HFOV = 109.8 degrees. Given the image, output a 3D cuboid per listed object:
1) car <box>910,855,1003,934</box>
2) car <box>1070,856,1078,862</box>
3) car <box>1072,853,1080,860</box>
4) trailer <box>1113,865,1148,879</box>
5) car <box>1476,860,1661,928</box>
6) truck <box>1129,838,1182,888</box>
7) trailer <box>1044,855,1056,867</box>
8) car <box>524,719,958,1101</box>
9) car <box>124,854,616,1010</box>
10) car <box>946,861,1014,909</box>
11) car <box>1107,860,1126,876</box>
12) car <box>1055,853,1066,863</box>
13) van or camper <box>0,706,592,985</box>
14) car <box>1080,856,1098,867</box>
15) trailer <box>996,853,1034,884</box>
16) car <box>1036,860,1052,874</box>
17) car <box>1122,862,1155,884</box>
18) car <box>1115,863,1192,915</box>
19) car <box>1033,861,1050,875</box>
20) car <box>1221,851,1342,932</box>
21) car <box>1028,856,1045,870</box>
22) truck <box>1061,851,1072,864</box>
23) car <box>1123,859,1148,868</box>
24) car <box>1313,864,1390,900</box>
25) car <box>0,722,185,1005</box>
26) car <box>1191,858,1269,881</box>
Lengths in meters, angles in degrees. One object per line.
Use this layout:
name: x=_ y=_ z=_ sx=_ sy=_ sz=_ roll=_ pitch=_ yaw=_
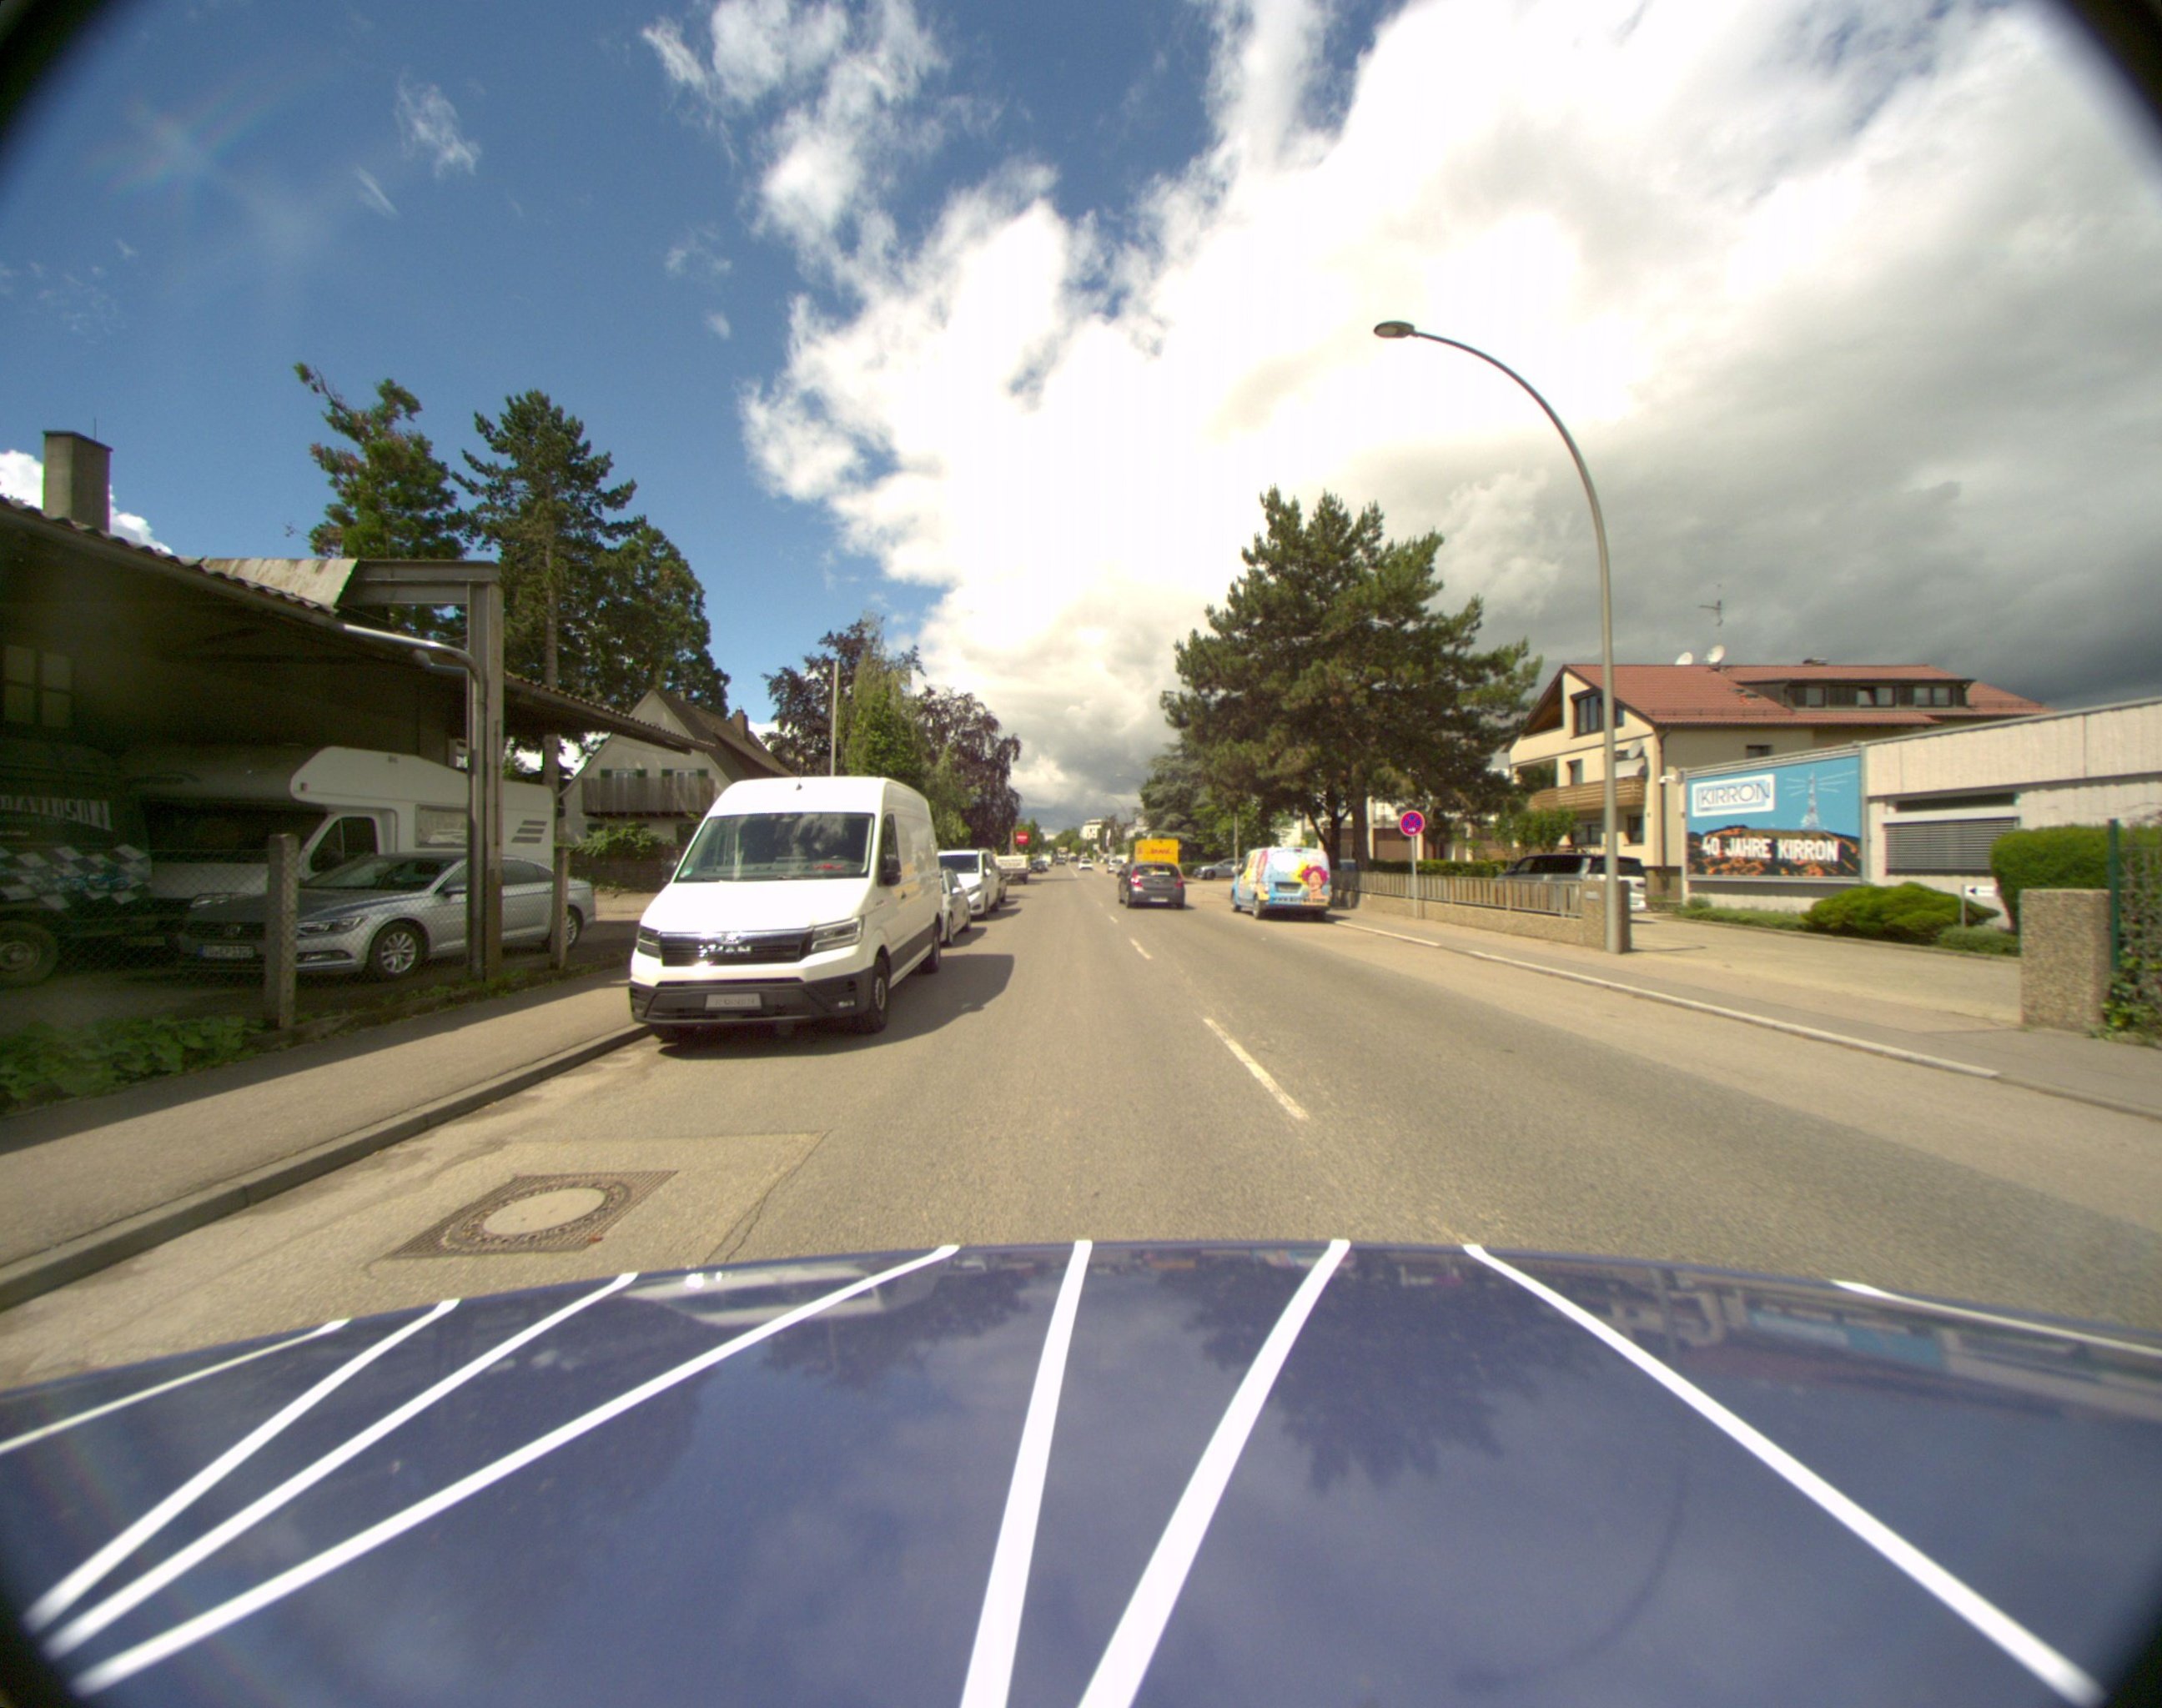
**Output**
car: x=-3.360 y=1.024 z=21.523 sx=1.910 sy=1.874 sz=5.388 roll=-2 pitch=0 yaw=-2
car: x=-2.279 y=1.620 z=240.354 sx=2.385 sy=2.002 sz=6.383 roll=0 pitch=0 yaw=-3
car: x=-1.335 y=0.719 z=191.886 sx=1.859 sy=1.685 sz=4.001 roll=0 pitch=0 yaw=2
trailer: x=4.099 y=1.509 z=64.559 sx=2.324 sy=0.985 sz=7.458 roll=1 pitch=0 yaw=-1
car: x=14.820 y=1.116 z=23.602 sx=2.085 sy=1.820 sz=5.478 roll=1 pitch=0 yaw=-2
truck: x=4.797 y=0.595 z=50.553 sx=2.330 sy=2.985 sz=7.817 roll=2 pitch=0 yaw=-3
trailer: x=-5.758 y=1.280 z=142.201 sx=2.045 sy=2.214 sz=5.078 roll=0 pitch=0 yaw=-1
car: x=-2.927 y=0.419 z=8.695 sx=2.221 sy=2.673 sz=6.656 roll=0 pitch=0 yaw=-2
car: x=-8.329 y=0.788 z=9.756 sx=1.769 sy=1.480 sz=4.926 roll=0 pitch=-1 yaw=-1
car: x=-3.489 y=1.033 z=27.013 sx=1.759 sy=1.442 sz=4.993 roll=-3 pitch=0 yaw=-1
car: x=3.836 y=1.479 z=82.299 sx=1.809 sy=1.666 sz=4.127 roll=2 pitch=0 yaw=-1
car: x=-4.063 y=0.814 z=150.212 sx=1.999 sy=1.802 sz=4.000 roll=-1 pitch=0 yaw=-1
van or camper: x=-11.159 y=-0.074 z=11.796 sx=2.889 sy=3.042 sz=6.912 roll=0 pitch=0 yaw=-3
car: x=1.002 y=0.969 z=98.267 sx=1.987 sy=1.411 sz=3.999 roll=0 pitch=0 yaw=-4
trailer: x=-4.053 y=0.883 z=47.636 sx=1.999 sy=1.812 sz=4.764 roll=-2 pitch=0 yaw=-1
car: x=-4.915 y=1.696 z=100.485 sx=1.835 sy=1.608 sz=4.000 roll=-3 pitch=0 yaw=0
car: x=4.365 y=1.423 z=58.250 sx=1.999 sy=1.444 sz=4.811 roll=3 pitch=0 yaw=-1
car: x=2.243 y=1.059 z=24.508 sx=1.906 sy=1.509 sz=4.318 roll=0 pitch=0 yaw=-2
car: x=-4.962 y=1.713 z=95.692 sx=1.811 sy=1.566 sz=4.187 roll=-3 pitch=0 yaw=-1
car: x=5.257 y=0.946 z=20.656 sx=1.838 sy=1.842 sz=4.895 roll=3 pitch=-1 yaw=-1
car: x=-4.910 y=0.939 z=83.847 sx=1.760 sy=1.455 sz=3.999 roll=-1 pitch=0 yaw=-2
truck: x=-3.993 y=0.864 z=206.714 sx=2.881 sy=3.289 sz=8.606 roll=-2 pitch=0 yaw=-1
car: x=9.280 y=1.679 z=129.118 sx=4.047 sy=1.485 sz=1.675 roll=0 pitch=0 yaw=-2
car: x=12.267 y=1.218 z=34.699 sx=1.772 sy=1.534 sz=4.086 roll=0 pitch=0 yaw=-5
car: x=-11.143 y=0.059 z=5.886 sx=2.023 sy=2.665 sz=5.497 roll=0 pitch=-1 yaw=-3
car: x=10.387 y=1.082 z=53.019 sx=5.022 sy=1.543 sz=1.972 roll=0 pitch=0 yaw=-3
